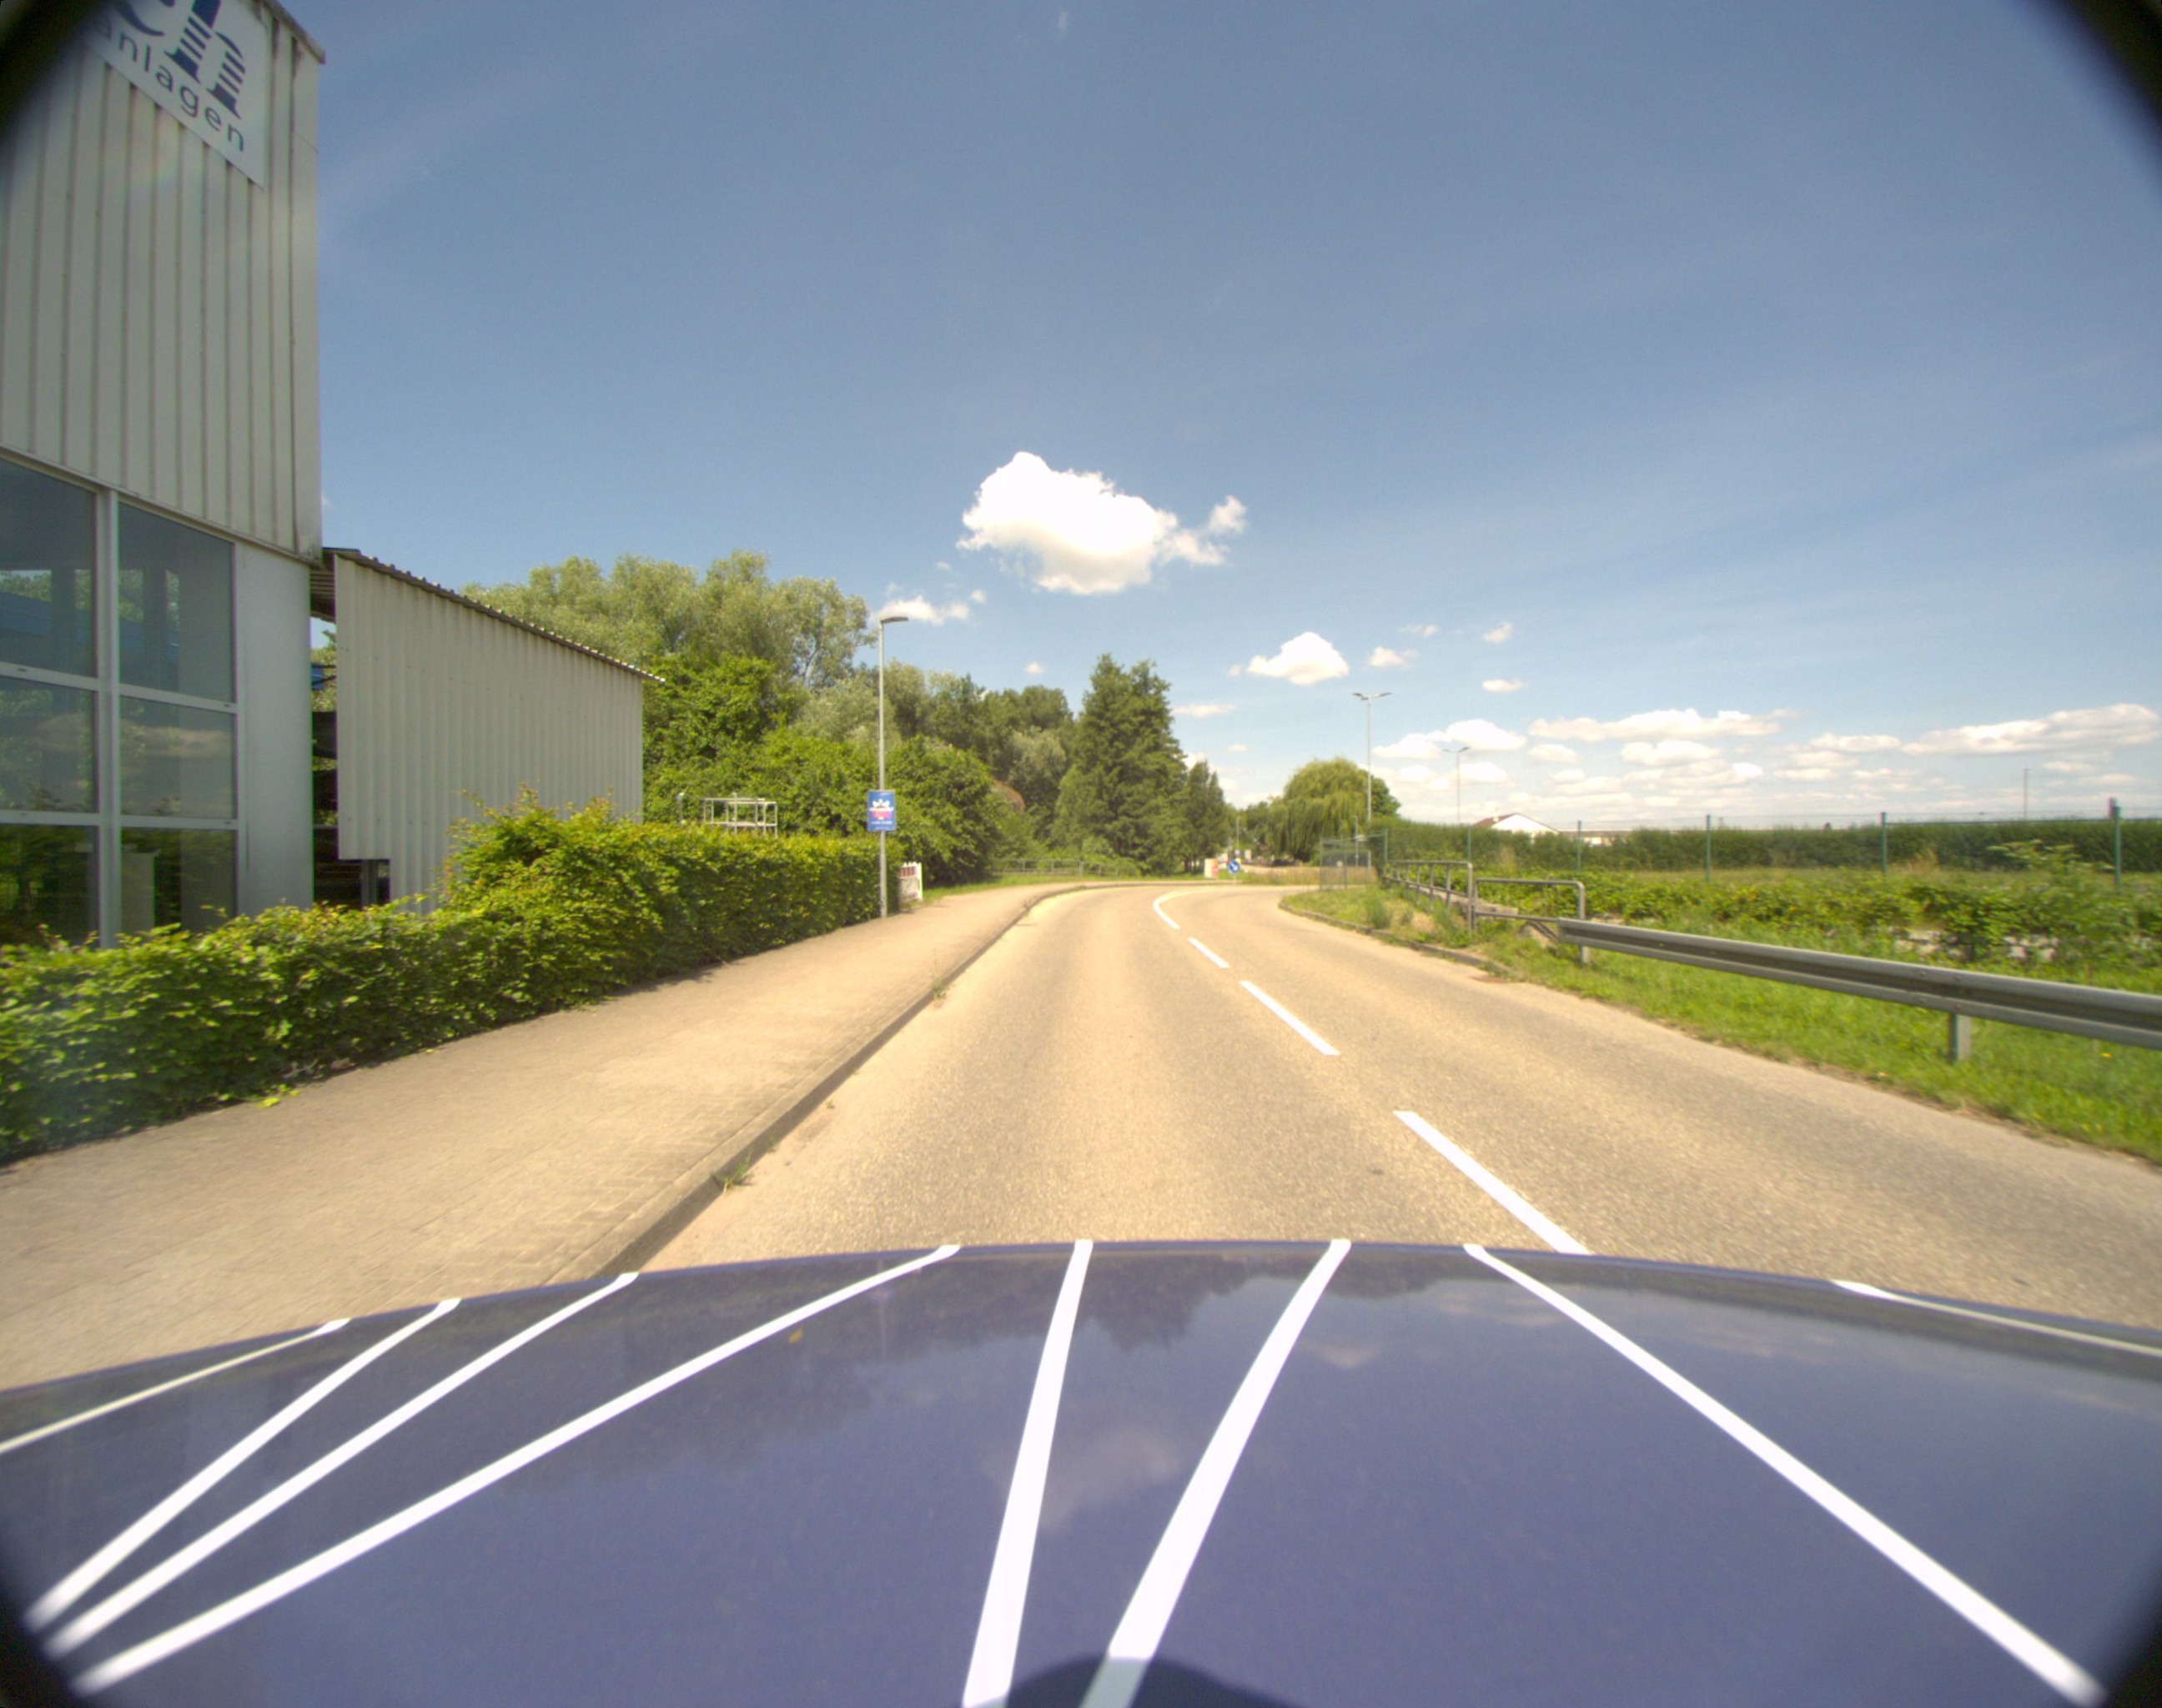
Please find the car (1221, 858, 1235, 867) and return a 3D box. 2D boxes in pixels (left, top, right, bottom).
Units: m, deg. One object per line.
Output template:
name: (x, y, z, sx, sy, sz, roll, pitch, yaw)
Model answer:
car: (27.514, 1.580, 142.077, 1.884, 1.455, 4.388, 1, 0, 3)
